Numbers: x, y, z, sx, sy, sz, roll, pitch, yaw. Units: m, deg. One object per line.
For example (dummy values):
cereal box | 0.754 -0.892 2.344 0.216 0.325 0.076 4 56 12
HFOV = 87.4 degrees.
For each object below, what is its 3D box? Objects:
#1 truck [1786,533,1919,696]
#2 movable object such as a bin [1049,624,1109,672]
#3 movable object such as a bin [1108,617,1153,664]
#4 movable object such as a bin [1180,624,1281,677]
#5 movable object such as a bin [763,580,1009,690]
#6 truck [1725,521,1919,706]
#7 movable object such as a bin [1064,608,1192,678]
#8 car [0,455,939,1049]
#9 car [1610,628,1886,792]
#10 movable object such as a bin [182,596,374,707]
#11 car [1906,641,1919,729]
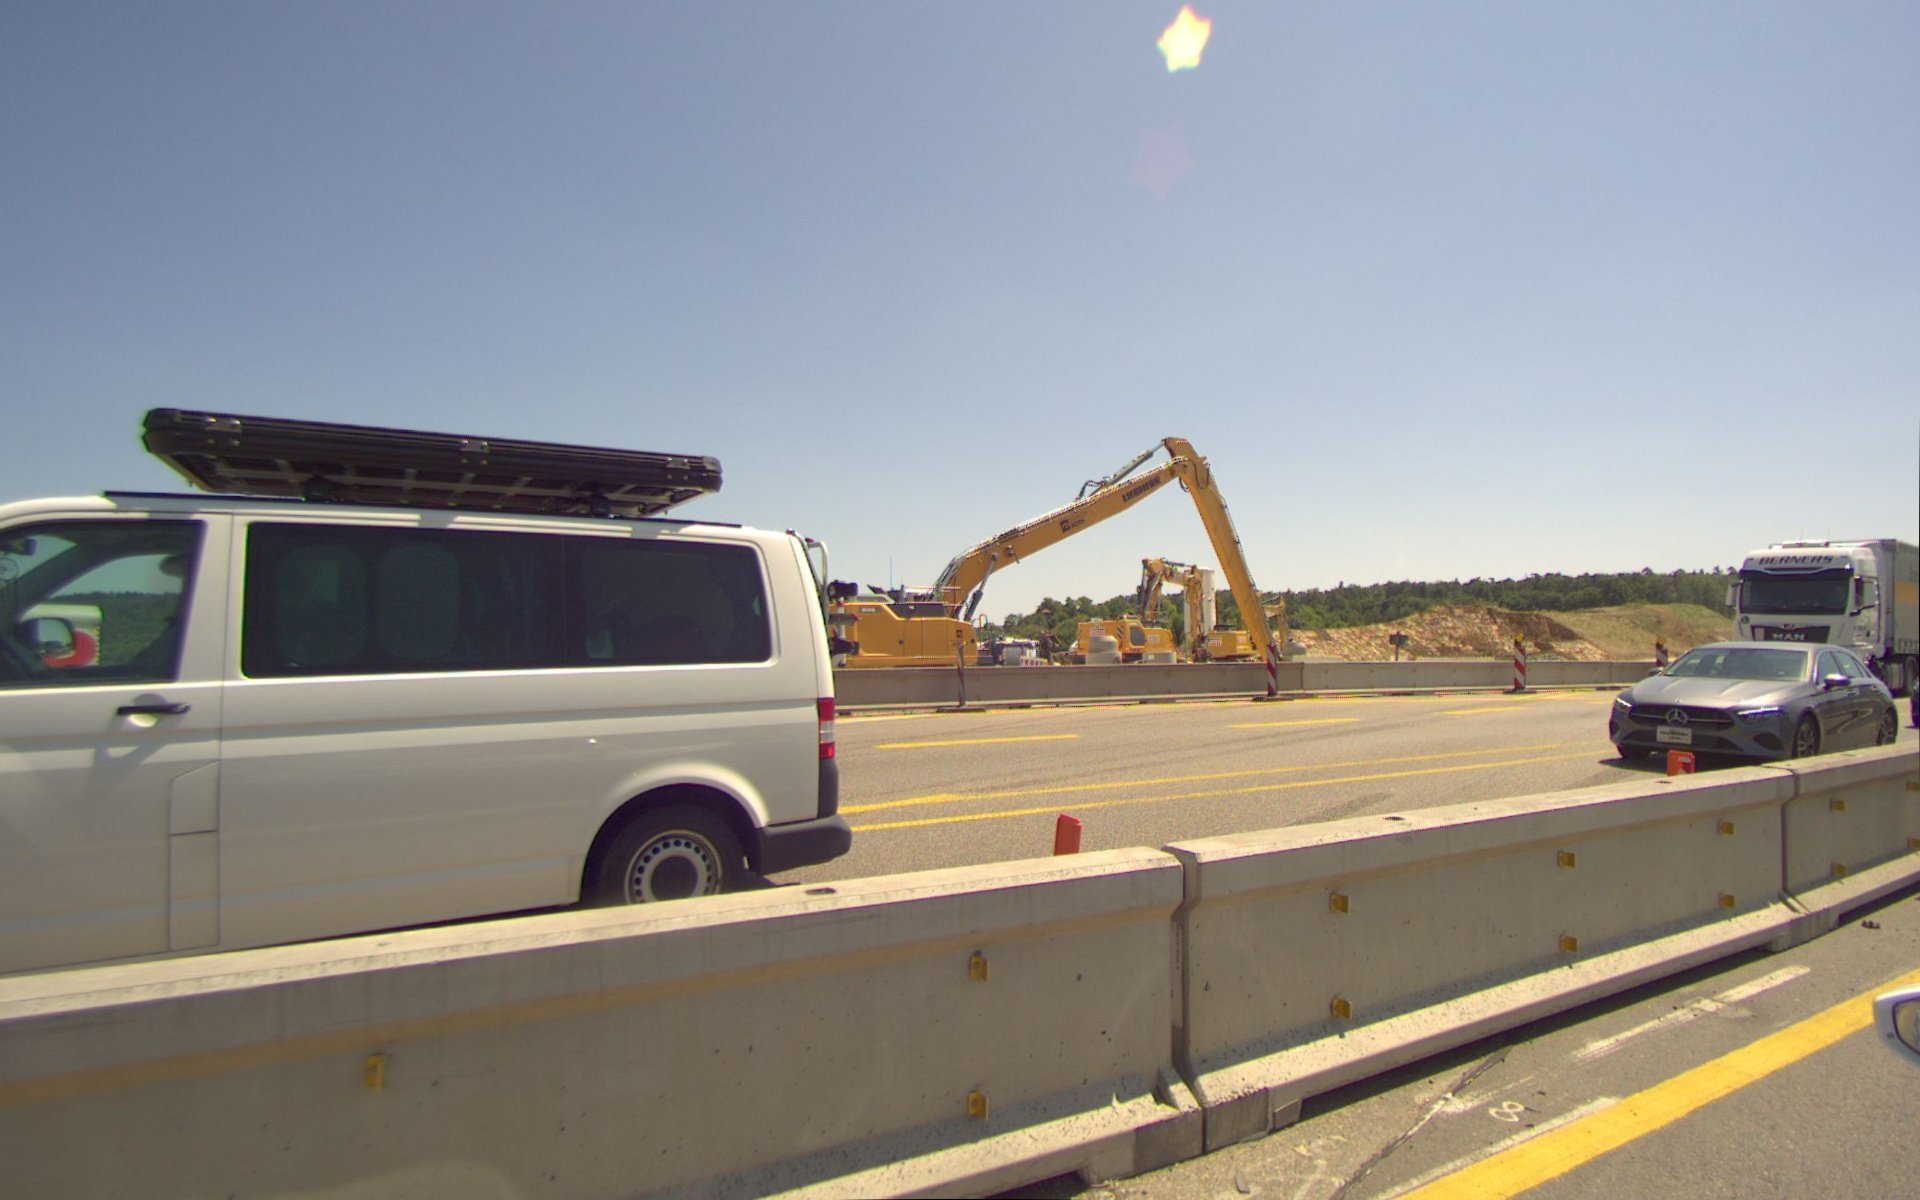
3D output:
truck | 29.236 0.532 31.345 11.672 4.334 2.753 1 -2 -38
movable object such as a bin | 8.749 3.453 73.584 2.386 3.168 5.471 2 1 30
movable object such as a bin | 12.204 2.856 71.807 1.964 3.168 3.749 2 1 30
movable object such as a bin | 17.494 3.231 64.843 3.804 3.090 5.977 -4 -2 44
movable object such as a bin | -1.894 0.858 25.482 5.375 2.472 3.276 1 -1 -30
truck | 22.855 0.397 26.443 6.142 4.316 2.751 1 -2 -37
movable object such as a bin | 7.982 2.018 47.671 4.954 3.065 3.633 -1 -2 -42
car | -2.709 0.503 4.546 5.003 1.898 1.862 1 0 -32
car | 9.449 1.165 11.958 3.913 1.625 1.500 1 0 -35
movable object such as a bin | -18.168 1.301 26.994 2.823 2.763 3.362 1 0 0
car | 17.843 1.431 17.159 4.089 1.426 1.714 1 -2 -36
